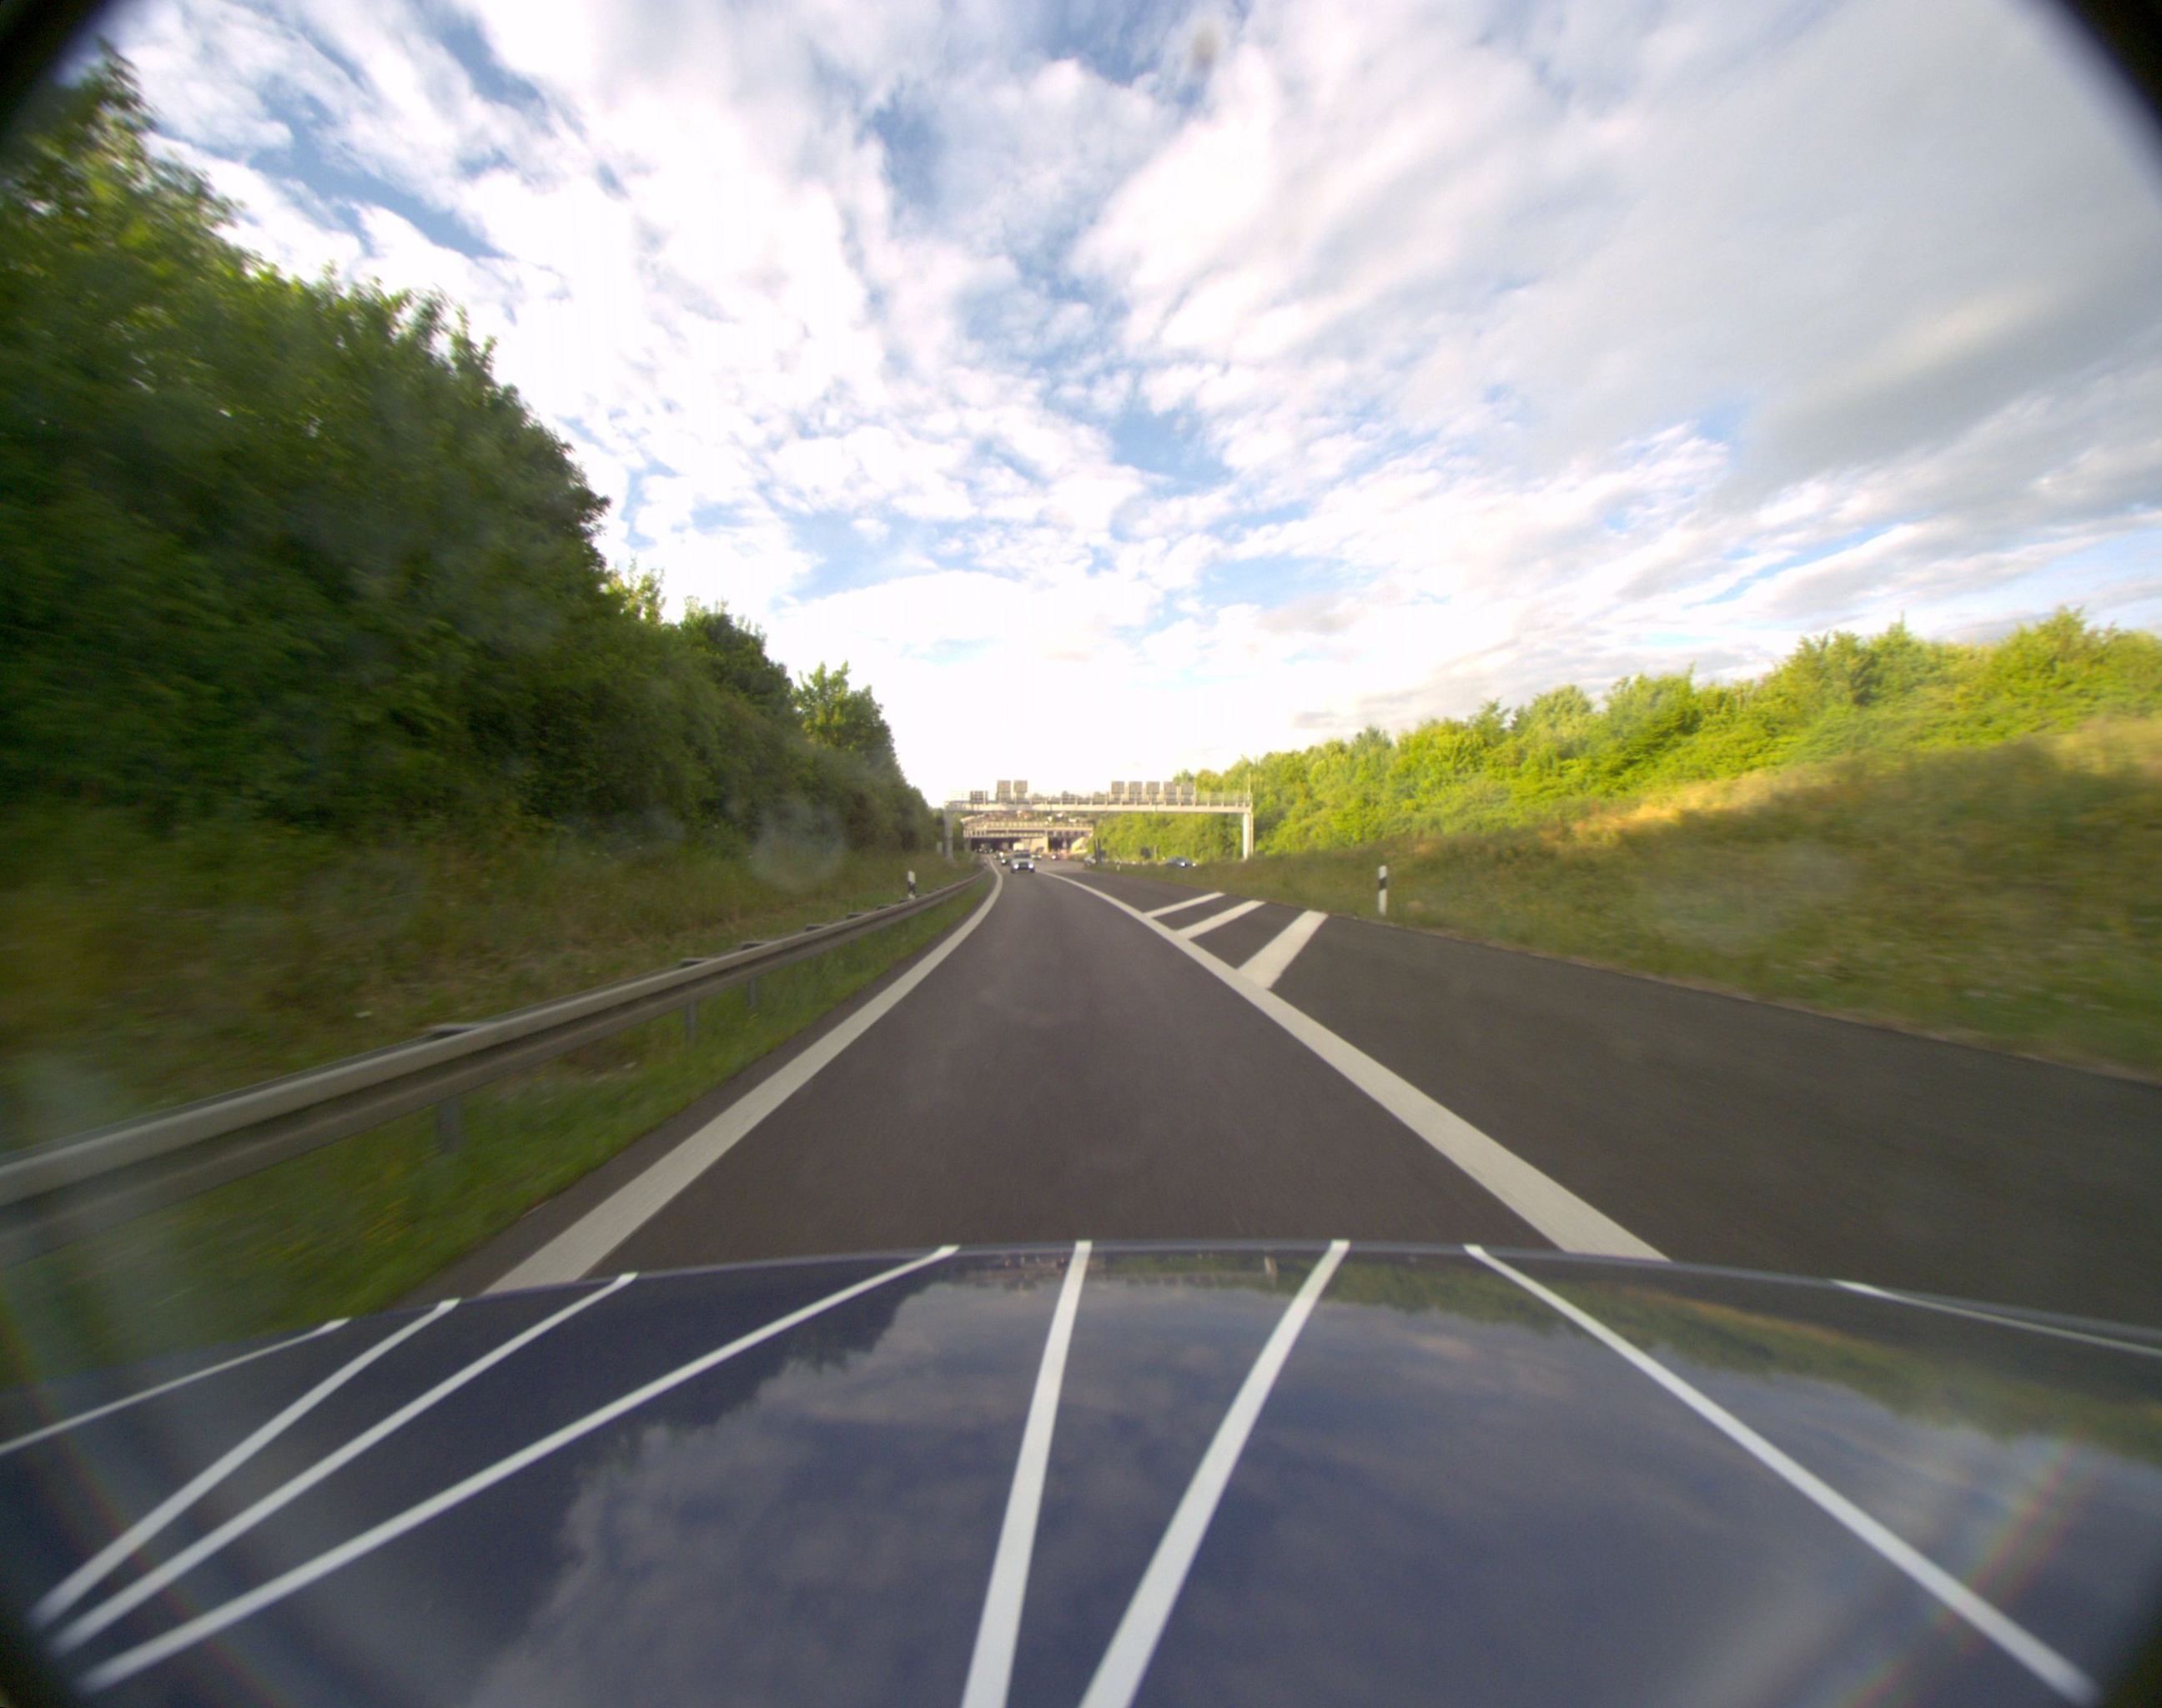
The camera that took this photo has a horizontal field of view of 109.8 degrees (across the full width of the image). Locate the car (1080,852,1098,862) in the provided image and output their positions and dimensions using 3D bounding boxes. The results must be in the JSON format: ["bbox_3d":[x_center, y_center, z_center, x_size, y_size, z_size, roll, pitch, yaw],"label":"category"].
[{"bbox_3d":[1.046,0.384,96.725,1.799,1.284,3.997,0,1,-7],"label":"car"}]

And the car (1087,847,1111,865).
[{"bbox_3d":[2.136,0.256,91.104,1.867,2.002,3.995,-2,0,-12],"label":"car"}]

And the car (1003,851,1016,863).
[{"bbox_3d":[-9.365,0.340,99.294,1.620,1.451,3.661,-2,0,-5],"label":"car"}]

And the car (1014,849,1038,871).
[{"bbox_3d":[-4.548,0.477,63.498,1.905,1.655,3.998,-1,1,-4],"label":"car"}]

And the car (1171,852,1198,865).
[{"bbox_3d":[10.808,0.484,79.701,1.881,1.284,3.997,-1,1,-7],"label":"car"}]
